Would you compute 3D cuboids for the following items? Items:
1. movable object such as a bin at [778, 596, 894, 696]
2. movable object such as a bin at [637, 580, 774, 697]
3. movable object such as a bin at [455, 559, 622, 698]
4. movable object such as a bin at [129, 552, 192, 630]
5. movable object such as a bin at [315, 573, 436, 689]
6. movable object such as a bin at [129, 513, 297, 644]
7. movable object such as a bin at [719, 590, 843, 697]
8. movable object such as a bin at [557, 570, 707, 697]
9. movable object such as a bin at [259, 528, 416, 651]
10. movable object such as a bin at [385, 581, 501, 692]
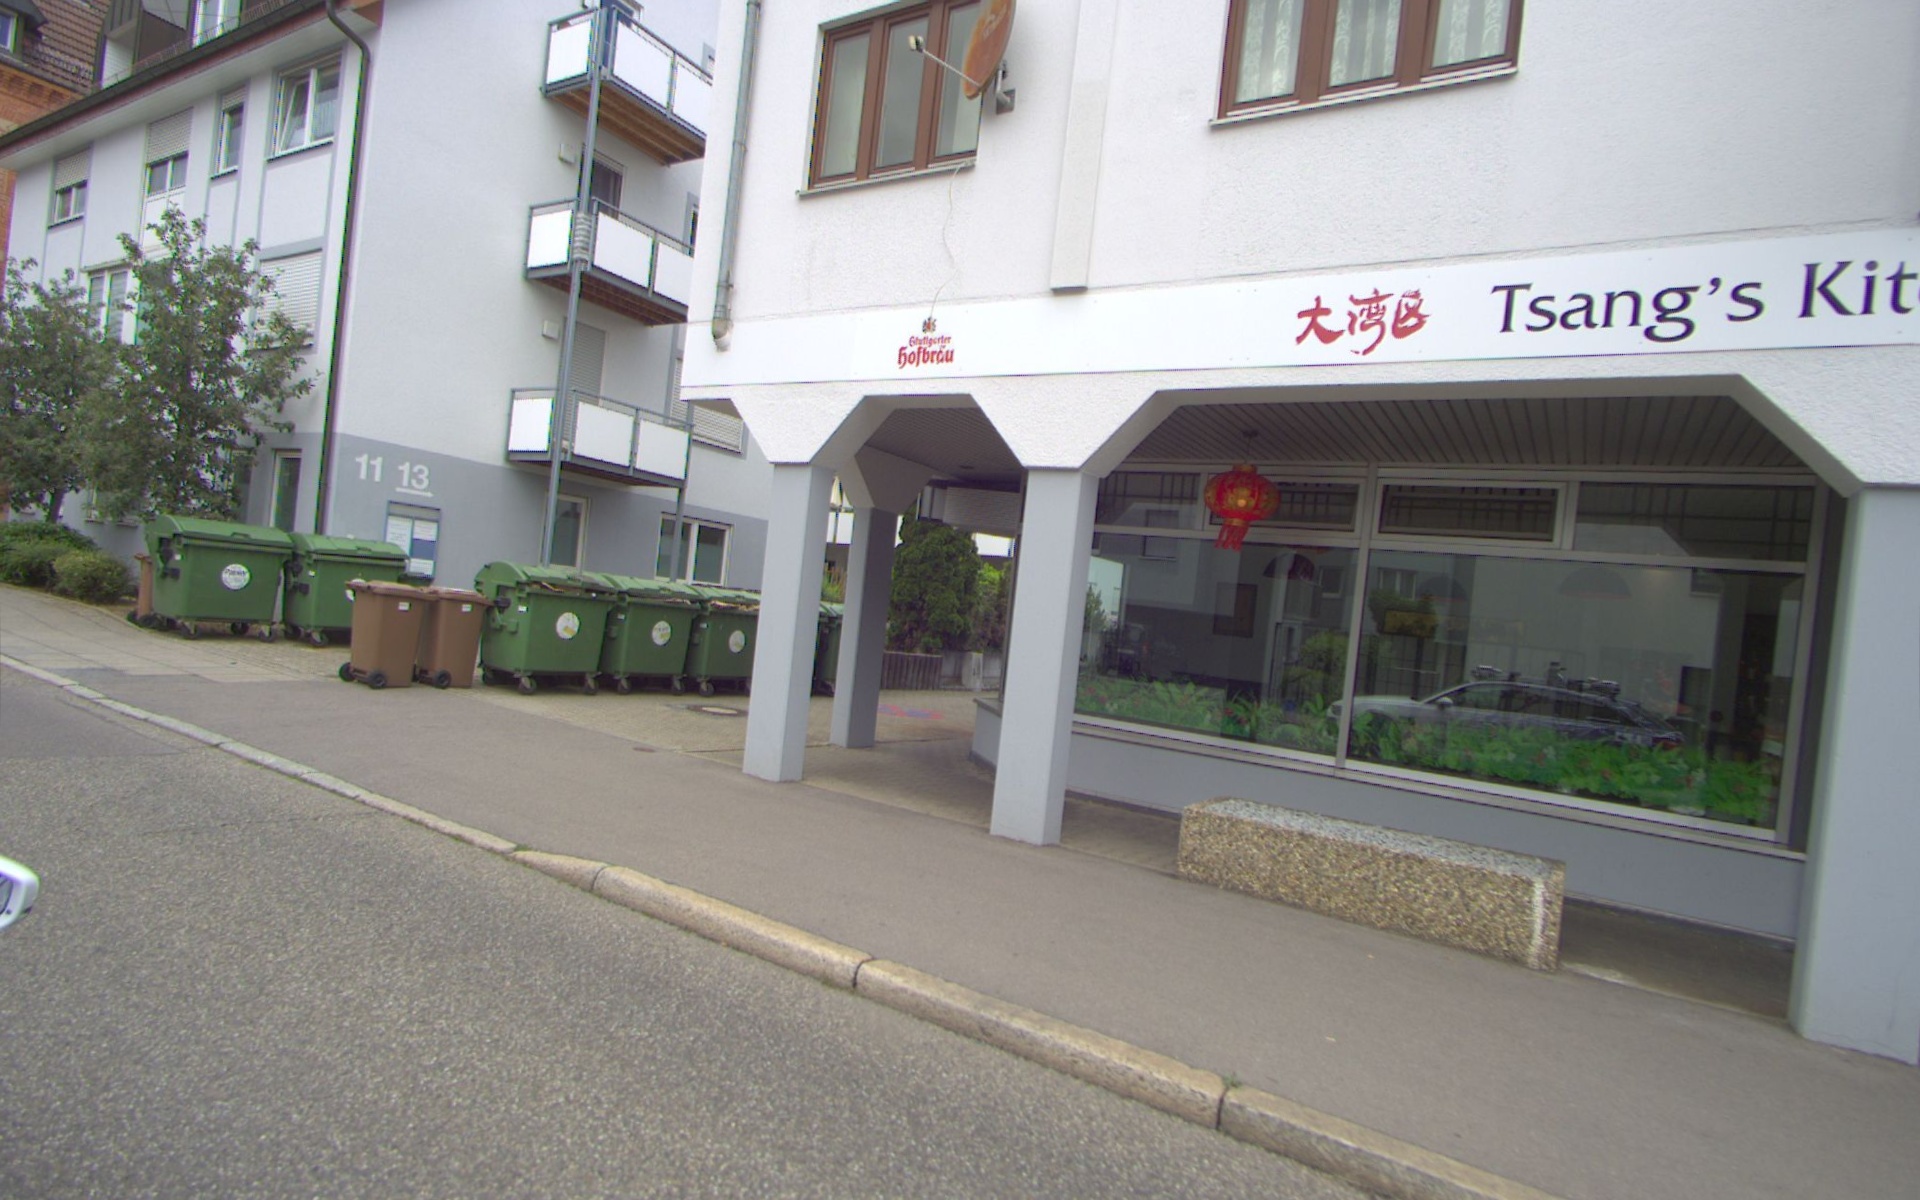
[{"bbox_3d":[-2.009,0.750,16.321,1.239,1.435,1.210,7,0,35],"label":"movable object such as a bin"},{"bbox_3d":[-3.534,0.539,14.000,1.239,1.435,1.210,7,0,35],"label":"movable object such as a bin"},{"bbox_3d":[-4.931,0.340,11.787,1.239,1.435,1.210,7,0,35],"label":"movable object such as a bin"},{"bbox_3d":[-10.184,-0.112,12.812,0.457,0.932,0.430,7,1,32],"label":"movable object such as a bin"},{"bbox_3d":[-6.131,0.330,10.551,0.956,1.080,0.683,7,1,36],"label":"movable object such as a bin"},{"bbox_3d":[-9.344,-0.253,12.612,1.143,1.435,1.268,7,0,32],"label":"movable object such as a bin"},{"bbox_3d":[-2.710,0.664,15.291,1.239,1.435,1.210,7,0,35],"label":"movable object such as a bin"},{"bbox_3d":[-4.209,0.441,12.941,1.239,1.435,1.210,7,0,35],"label":"movable object such as a bin"},{"bbox_3d":[-8.412,-0.134,13.623,1.286,1.453,1.268,7,0,32],"label":"movable object such as a bin"},{"bbox_3d":[-5.732,0.403,11.160,0.956,1.092,0.698,7,1,36],"label":"movable object such as a bin"}]
